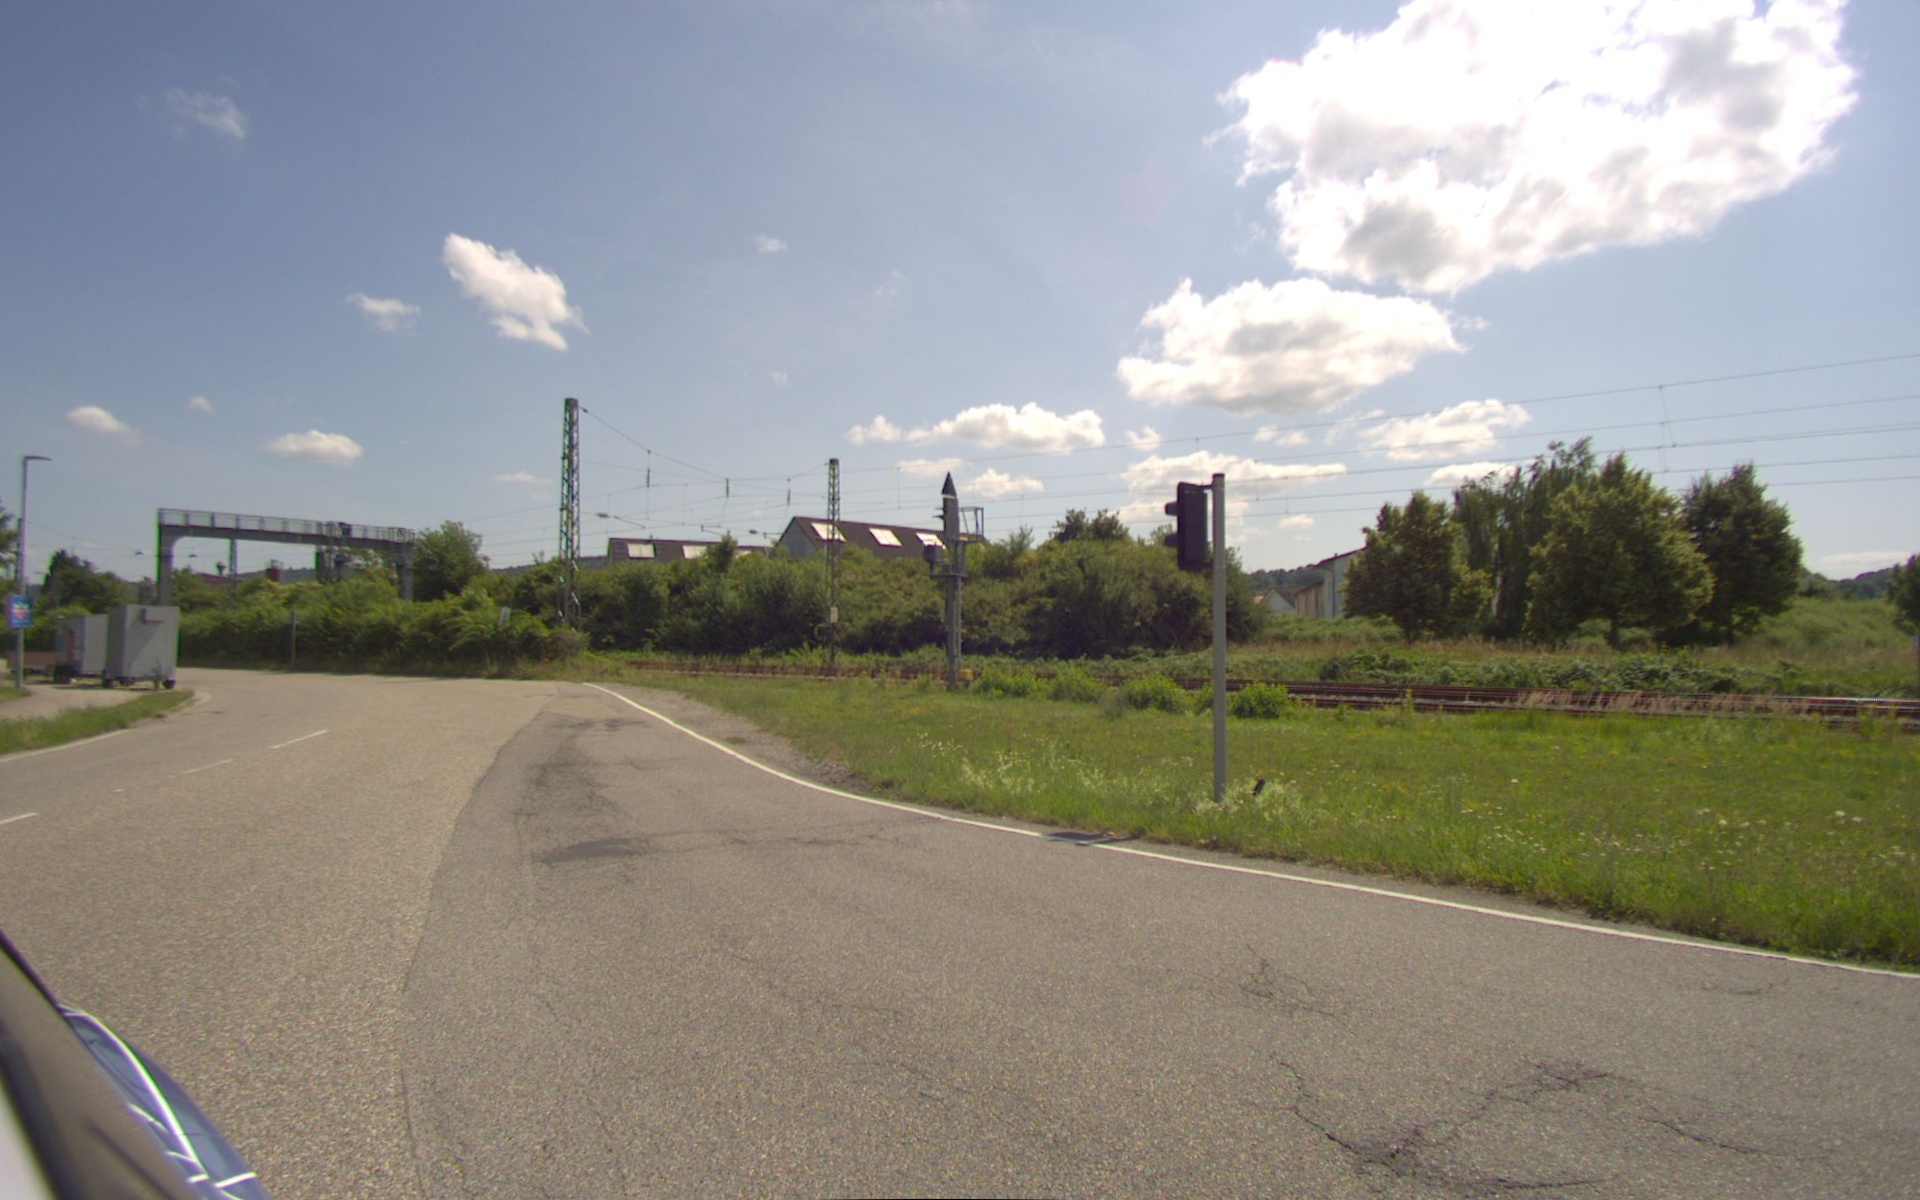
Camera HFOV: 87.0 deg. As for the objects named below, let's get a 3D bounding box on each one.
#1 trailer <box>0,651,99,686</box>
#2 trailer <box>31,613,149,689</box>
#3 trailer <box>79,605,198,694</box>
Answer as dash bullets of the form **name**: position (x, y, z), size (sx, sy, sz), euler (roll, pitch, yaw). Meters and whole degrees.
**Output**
- **trailer**: position (-34.444, 2.573, 38.208), size (4.482, 1.131, 1.986), euler (-1, -5, 38)
- **trailer**: position (-30.837, 1.825, 35.840), size (4.730, 2.528, 1.902), euler (-2, -5, 35)
- **trailer**: position (-26.621, 1.643, 32.744), size (5.179, 2.664, 1.913), euler (-2, -6, 40)
